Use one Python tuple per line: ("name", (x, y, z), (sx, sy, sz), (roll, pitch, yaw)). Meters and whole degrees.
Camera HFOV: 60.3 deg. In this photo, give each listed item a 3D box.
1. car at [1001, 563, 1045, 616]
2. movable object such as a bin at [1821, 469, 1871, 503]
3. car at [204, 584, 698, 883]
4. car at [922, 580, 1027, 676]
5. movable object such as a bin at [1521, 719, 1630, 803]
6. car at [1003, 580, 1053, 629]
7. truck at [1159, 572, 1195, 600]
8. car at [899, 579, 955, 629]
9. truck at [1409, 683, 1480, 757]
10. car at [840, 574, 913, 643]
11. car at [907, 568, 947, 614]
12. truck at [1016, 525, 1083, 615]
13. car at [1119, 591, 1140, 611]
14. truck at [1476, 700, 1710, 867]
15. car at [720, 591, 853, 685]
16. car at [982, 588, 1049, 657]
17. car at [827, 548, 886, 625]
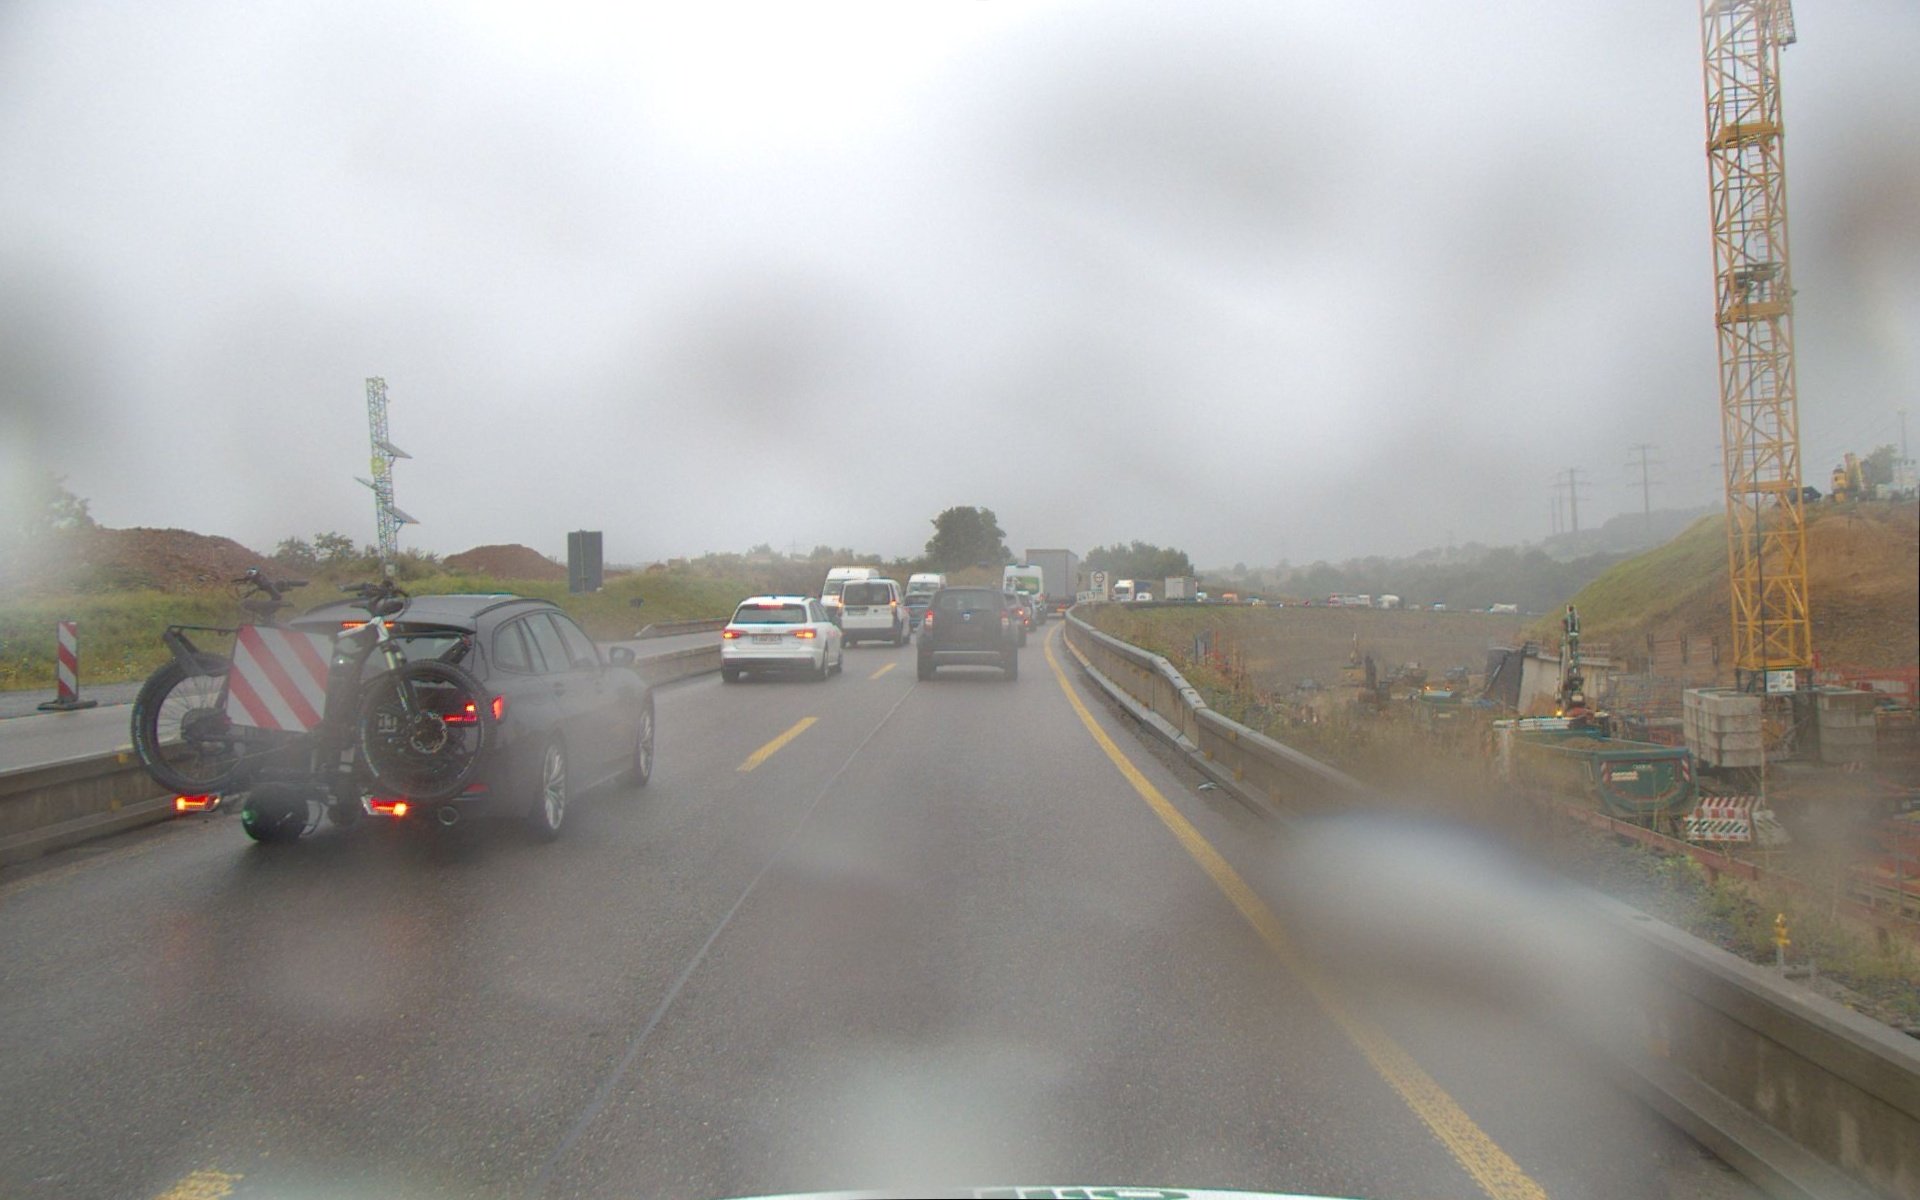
("car", (3.089, -0.474, 79.919), (1.787, 2.480, 4.160), (1, -1, 6))
("movable object such as a bin", (68.398, -8.789, 127.731), (2.377, 2.486, 3.972), (0, 1, 12))
("car", (-3.155, 0.686, 11.620), (1.699, 1.488, 5.630), (0, 2, 0))
("car", (0.327, 0.500, 30.270), (1.788, 1.619, 4.001), (1, -1, 2))
("movable object such as a bin", (22.771, 5.935, 61.309), (3.083, 2.786, 2.970), (1, -1, 4))
("car", (2.703, 0.196, 64.697), (1.788, 1.847, 4.002), (1, -1, 5))
("truck", (29.362, -1.884, 223.536), (3.399, 3.780, 8.423), (-1, 0, 16))
("car", (-1.243, 0.164, 63.313), (1.788, 1.847, 4.002), (1, -1, 4))
("truck", (27.243, 6.680, 93.345), (2.671, 3.552, 9.072), (0, -1, 9))
("car", (-2.292, 0.246, 46.168), (1.789, 1.847, 4.000), (1, -1, 0))
("car", (-1.906, -0.551, 96.535), (1.982, 2.593, 5.959), (-1, 0, 2))
("truck", (5.616, -1.708, 101.784), (3.468, 5.166, 10.448), (0, -1, 7))
("car", (20.663, 0.111, 201.203), (1.991, 2.296, 4.161), (0, -1, 14))
("truck", (16.746, 4.717, 44.561), (2.645, 3.565, 8.944), (1, -1, -2))
("car", (-2.996, 0.650, 29.294), (1.788, 1.525, 4.001), (1, -1, 2))
("car", (1.610, 0.636, 46.966), (1.788, 1.847, 4.001), (1, -1, 3))
("car", (-4.242, -0.551, 68.519), (1.952, 3.066, 5.780), (1, 0, 1))
